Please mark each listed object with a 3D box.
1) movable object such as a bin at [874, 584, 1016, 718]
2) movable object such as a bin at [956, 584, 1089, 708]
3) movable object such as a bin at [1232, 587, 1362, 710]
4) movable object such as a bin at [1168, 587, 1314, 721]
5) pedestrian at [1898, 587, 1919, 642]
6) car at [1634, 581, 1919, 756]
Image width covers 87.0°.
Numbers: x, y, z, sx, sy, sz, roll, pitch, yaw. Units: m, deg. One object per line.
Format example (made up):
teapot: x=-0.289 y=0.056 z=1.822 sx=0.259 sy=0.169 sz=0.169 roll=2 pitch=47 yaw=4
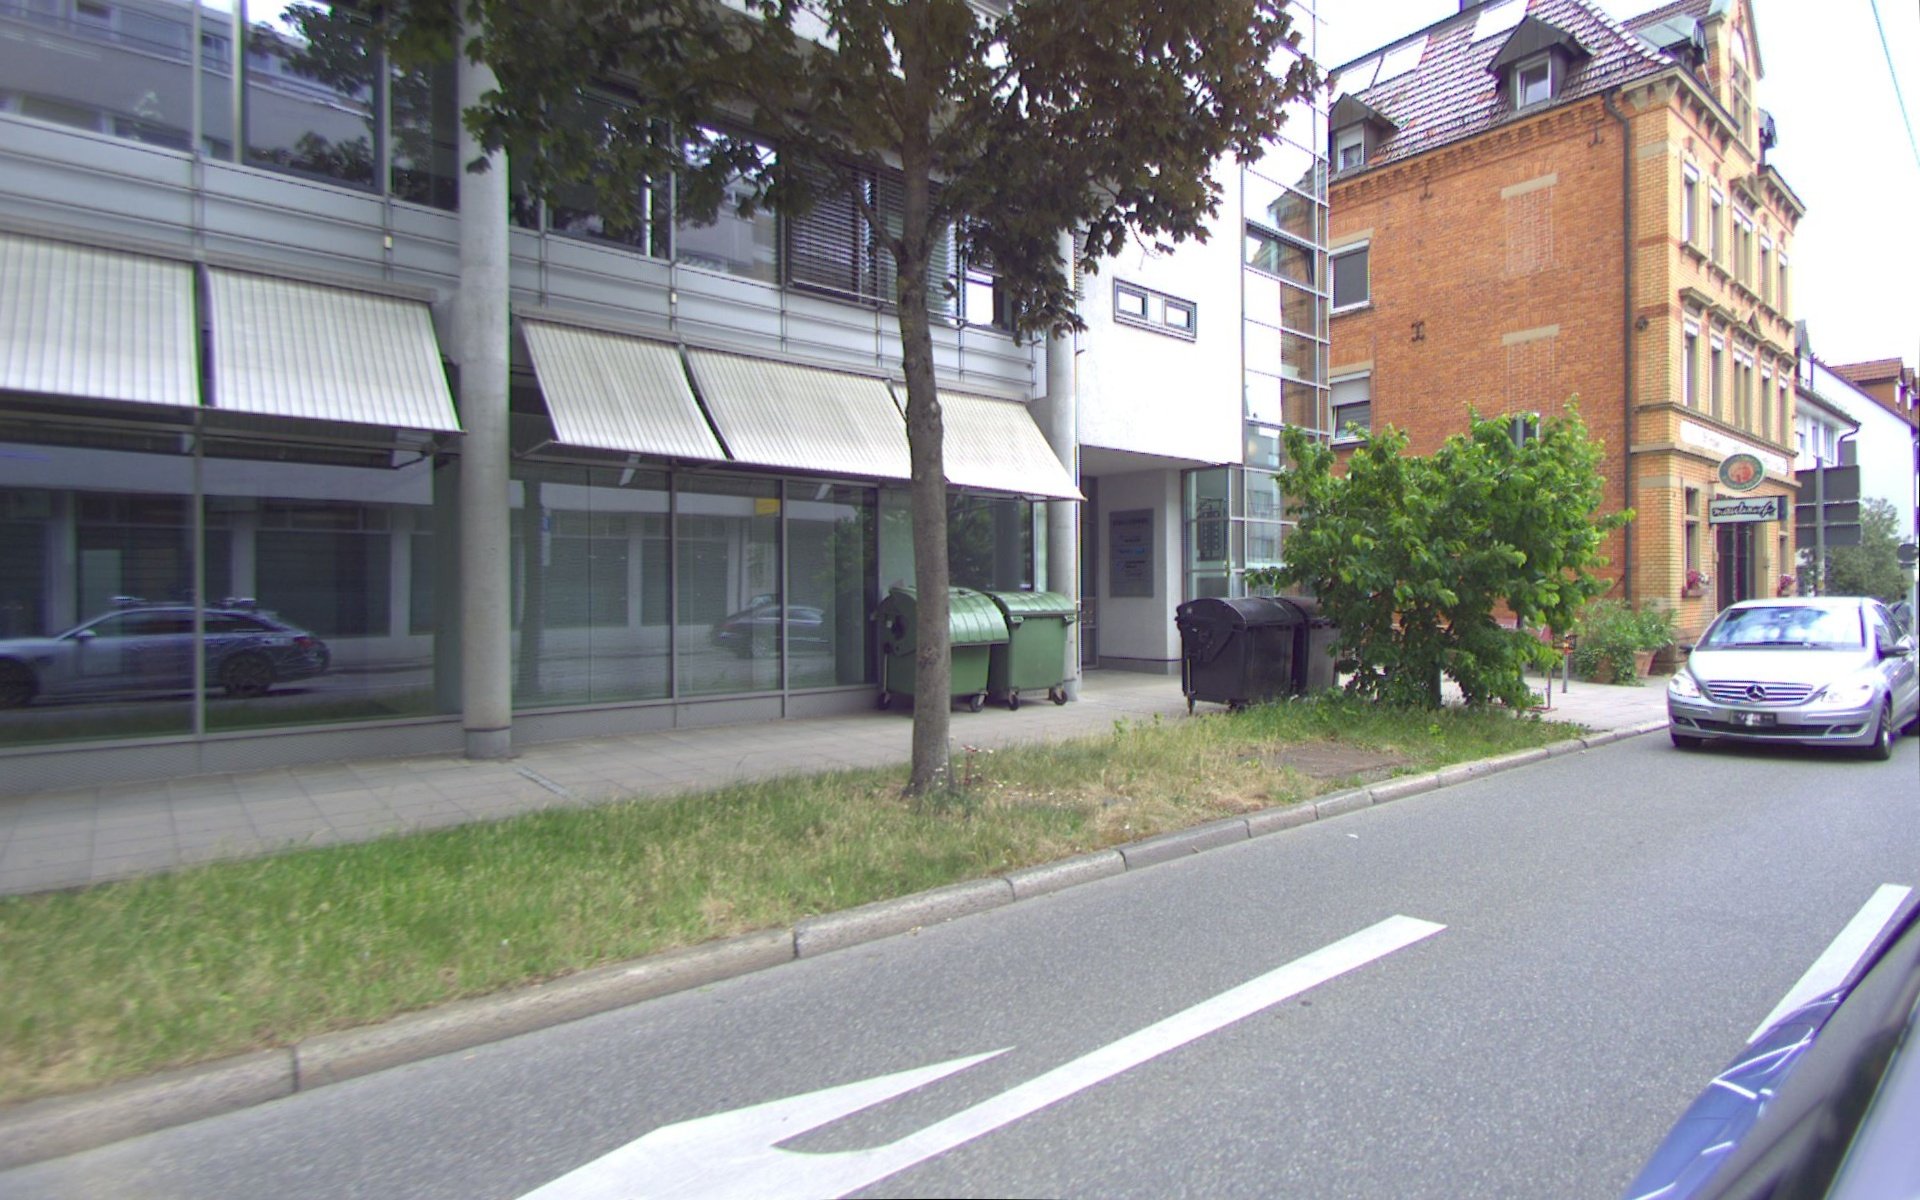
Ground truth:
movable object such as a bin: x=-0.184 y=0.557 z=12.184 sx=1.310 sy=1.484 sz=1.100 roll=0 pitch=2 yaw=-41
movable object such as a bin: x=0.809 y=0.540 z=13.081 sx=1.310 sy=1.484 sz=1.124 roll=0 pitch=2 yaw=-41
movable object such as a bin: x=4.414 y=0.587 z=13.255 sx=1.310 sy=1.484 sz=1.100 roll=0 pitch=2 yaw=-41
movable object such as a bin: x=3.424 y=0.600 z=12.339 sx=1.388 sy=1.484 sz=1.129 roll=0 pitch=2 yaw=-41
pedestrian: x=31.087 y=0.461 z=32.977 sx=0.638 sy=1.752 sz=0.689 roll=0 pitch=0 yaw=-41
car: x=9.491 y=0.635 z=11.320 sx=4.489 sy=1.566 sz=1.997 roll=0 pitch=-2 yaw=-40
